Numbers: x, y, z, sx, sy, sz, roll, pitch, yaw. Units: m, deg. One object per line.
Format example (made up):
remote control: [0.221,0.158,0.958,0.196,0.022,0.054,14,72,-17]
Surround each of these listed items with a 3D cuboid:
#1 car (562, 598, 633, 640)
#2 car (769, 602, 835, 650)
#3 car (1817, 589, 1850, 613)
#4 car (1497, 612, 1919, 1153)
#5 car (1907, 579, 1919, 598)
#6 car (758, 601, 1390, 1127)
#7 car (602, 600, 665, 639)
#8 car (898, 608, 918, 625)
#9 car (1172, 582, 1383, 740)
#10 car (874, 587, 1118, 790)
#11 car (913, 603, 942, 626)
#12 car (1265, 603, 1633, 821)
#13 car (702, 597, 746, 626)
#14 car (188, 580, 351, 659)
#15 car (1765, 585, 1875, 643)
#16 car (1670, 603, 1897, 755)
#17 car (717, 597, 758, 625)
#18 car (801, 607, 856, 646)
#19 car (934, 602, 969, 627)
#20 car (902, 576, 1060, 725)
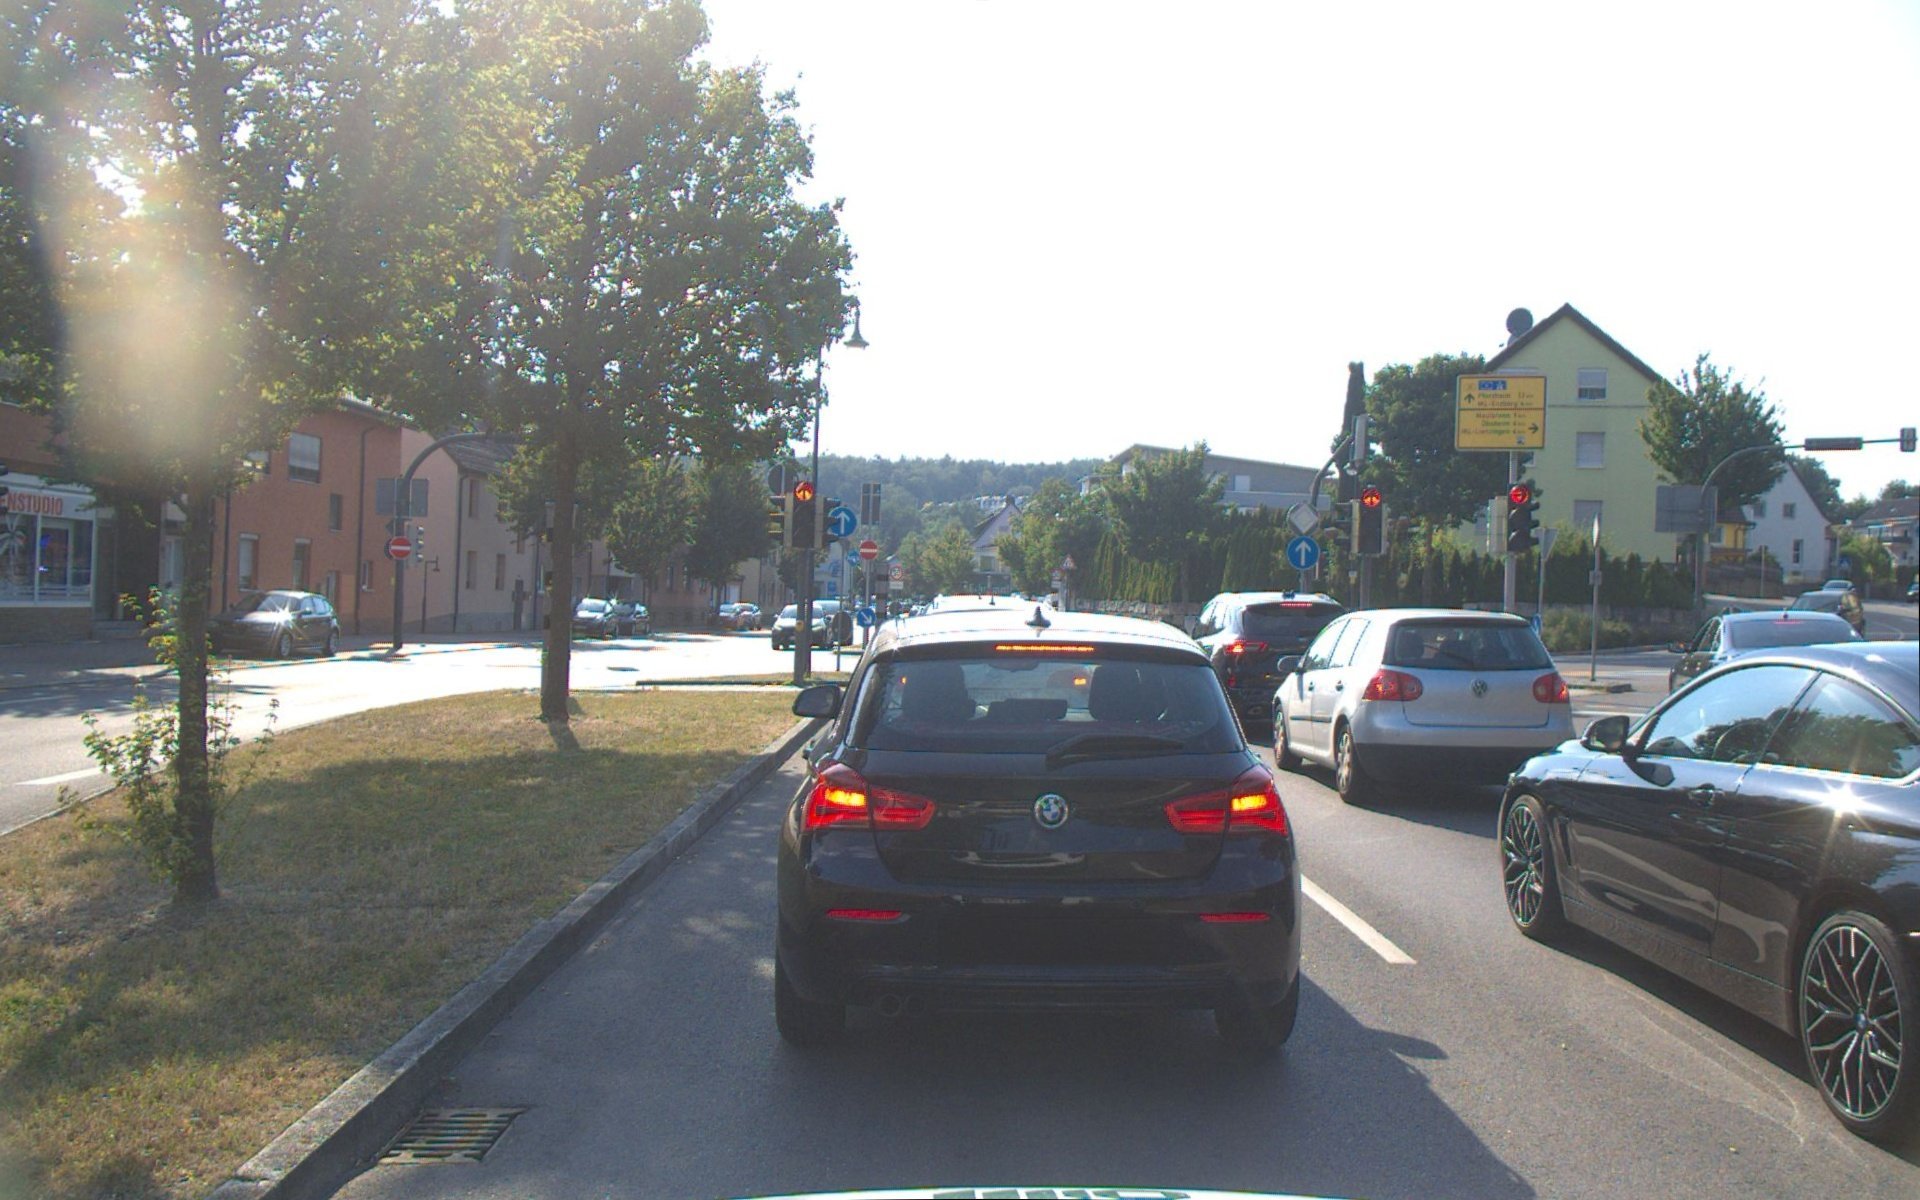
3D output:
car: [-14.600,0.737,66.841,1.884,1.624,4.000,1,0,1]
car: [-5.186,0.825,54.742,1.730,1.484,4.000,1,0,1]
car: [54.534,0.034,103.225,1.679,1.265,3.994,1,4,30]
car: [3.484,0.782,5.872,1.779,1.413,4.347,1,0,1]
car: [82.218,-0.959,141.577,1.745,1.607,3.987,1,0,34]
car: [0.348,0.739,6.806,1.754,1.439,4.347,1,0,1]
car: [-14.370,0.854,72.936,1.884,1.624,4.000,1,0,1]
car: [-5.178,1.585,163.789,1.885,1.624,3.999,1,0,-1]
car: [3.755,0.663,20.282,1.779,1.695,4.347,1,0,1]
car: [0.295,0.651,14.335,1.779,1.476,4.242,1,0,1]
car: [-2.537,1.095,129.102,1.854,1.732,4.518,0,0,-6]
car: [3.781,0.777,13.609,1.779,1.471,4.347,1,0,1]
car: [-13.823,0.680,97.073,1.884,1.624,4.000,1,0,1]
car: [-15.493,0.415,37.318,1.805,1.579,4.001,3,0,2]
car: [26.350,0.390,50.644,4.037,1.533,1.764,-3,3,-43]
car: [9.059,0.776,18.539,1.646,1.460,4.591,1,0,19]
car: [-13.777,0.671,102.579,1.884,1.624,4.000,1,0,1]
car: [-4.905,0.971,62.164,1.658,1.377,4.000,1,0,1]
car: [-0.572,0.930,108.067,1.826,1.511,4.652,1,0,-6]
car: [0.268,0.570,20.966,1.779,1.670,4.242,1,0,1]
